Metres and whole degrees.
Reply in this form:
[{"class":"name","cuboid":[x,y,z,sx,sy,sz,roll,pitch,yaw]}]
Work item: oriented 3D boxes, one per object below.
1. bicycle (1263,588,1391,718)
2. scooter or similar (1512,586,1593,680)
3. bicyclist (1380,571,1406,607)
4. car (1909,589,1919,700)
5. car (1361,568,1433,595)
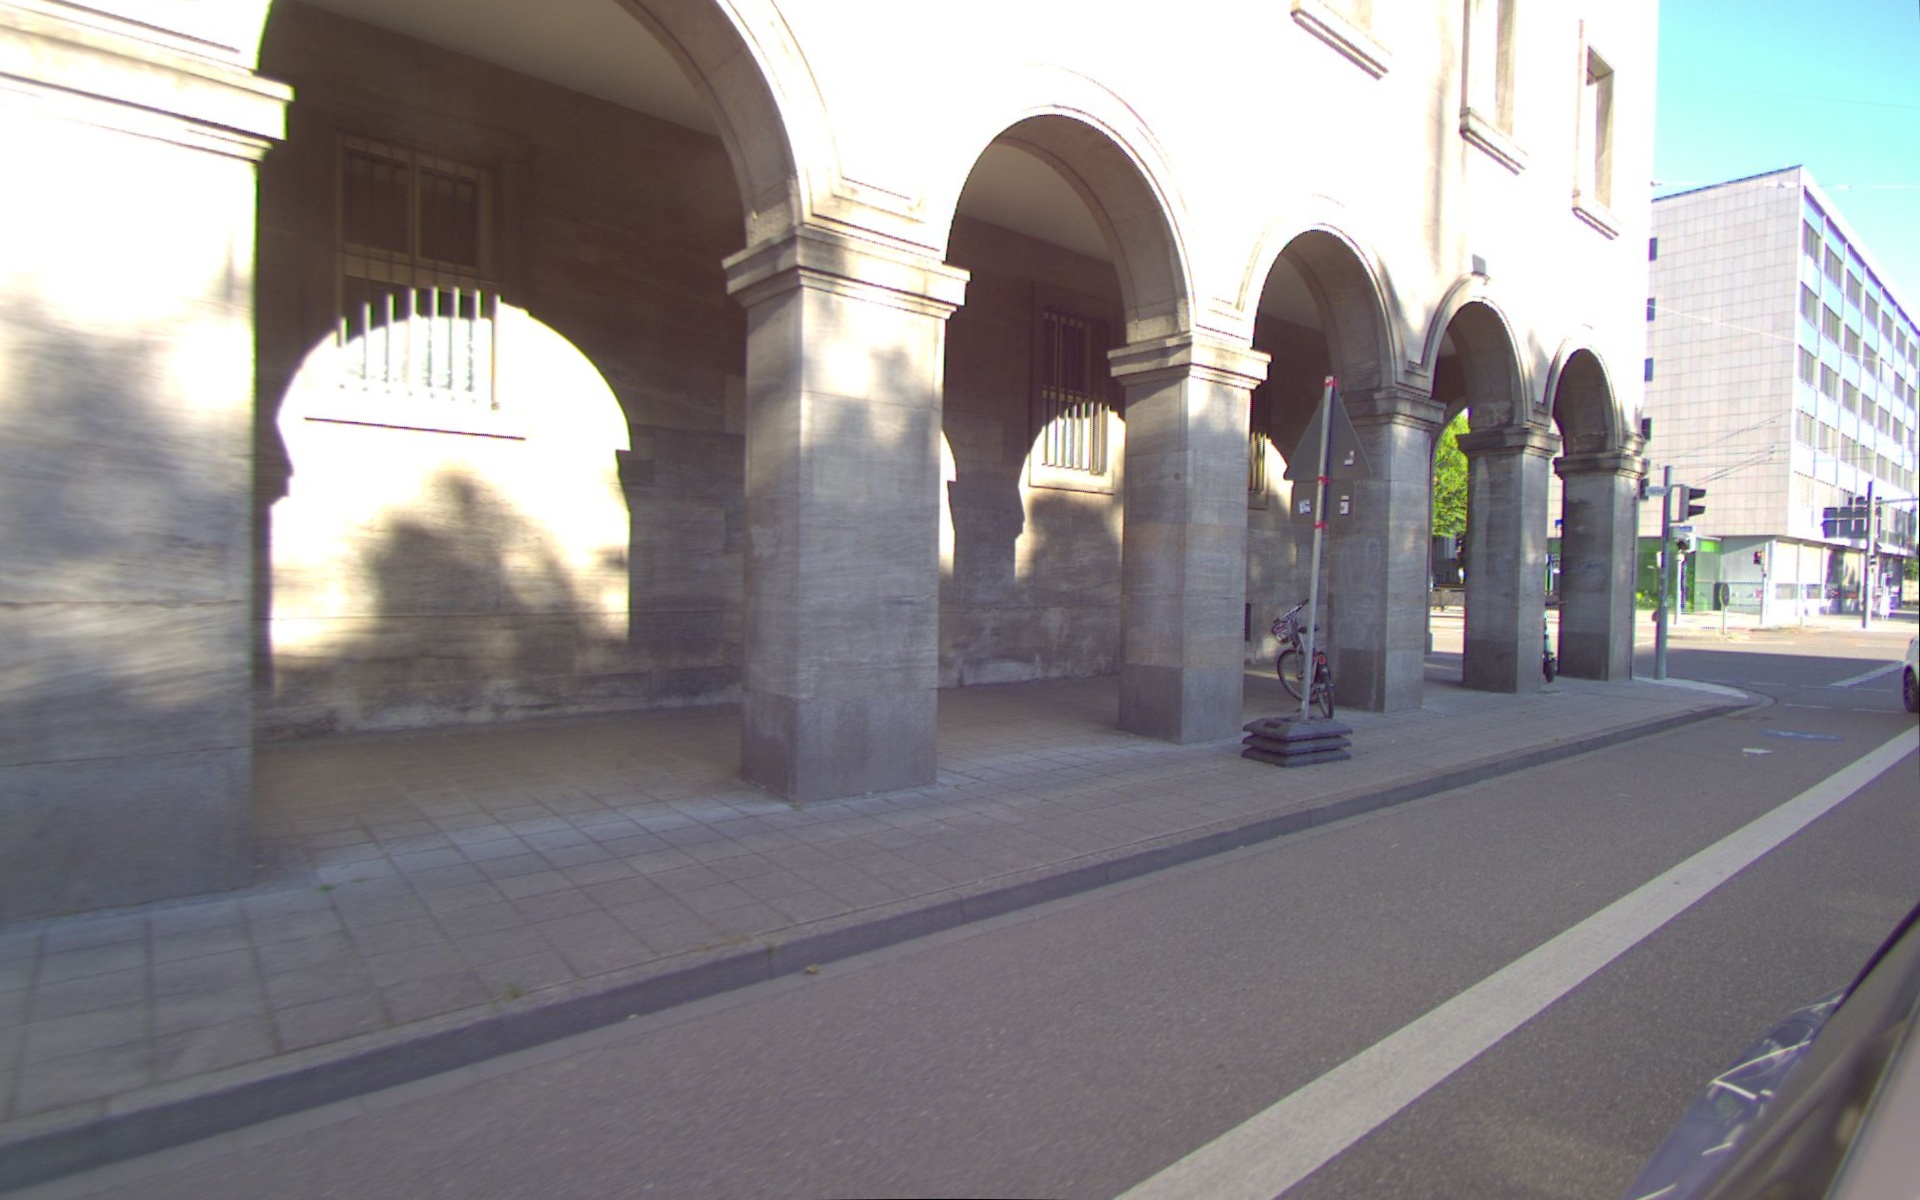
[{"class":"bicycle","cuboid":[3.755,0.498,10.511,0.651,1.147,1.714,2,3,0]},{"class":"scooter or similar","cuboid":[8.639,0.452,14.809,0.633,1.238,1.259,3,3,15]},{"class":"bicyclist","cuboid":[21.366,-0.565,49.910,0.930,1.710,0.763,1,4,7]},{"class":"car","cuboid":[12.810,0.619,11.868,1.666,1.482,3.724,0,1,31]},{"class":"car","cuboid":[28.522,-1.231,66.164,1.712,1.604,3.991,-3,4,-44]}]
